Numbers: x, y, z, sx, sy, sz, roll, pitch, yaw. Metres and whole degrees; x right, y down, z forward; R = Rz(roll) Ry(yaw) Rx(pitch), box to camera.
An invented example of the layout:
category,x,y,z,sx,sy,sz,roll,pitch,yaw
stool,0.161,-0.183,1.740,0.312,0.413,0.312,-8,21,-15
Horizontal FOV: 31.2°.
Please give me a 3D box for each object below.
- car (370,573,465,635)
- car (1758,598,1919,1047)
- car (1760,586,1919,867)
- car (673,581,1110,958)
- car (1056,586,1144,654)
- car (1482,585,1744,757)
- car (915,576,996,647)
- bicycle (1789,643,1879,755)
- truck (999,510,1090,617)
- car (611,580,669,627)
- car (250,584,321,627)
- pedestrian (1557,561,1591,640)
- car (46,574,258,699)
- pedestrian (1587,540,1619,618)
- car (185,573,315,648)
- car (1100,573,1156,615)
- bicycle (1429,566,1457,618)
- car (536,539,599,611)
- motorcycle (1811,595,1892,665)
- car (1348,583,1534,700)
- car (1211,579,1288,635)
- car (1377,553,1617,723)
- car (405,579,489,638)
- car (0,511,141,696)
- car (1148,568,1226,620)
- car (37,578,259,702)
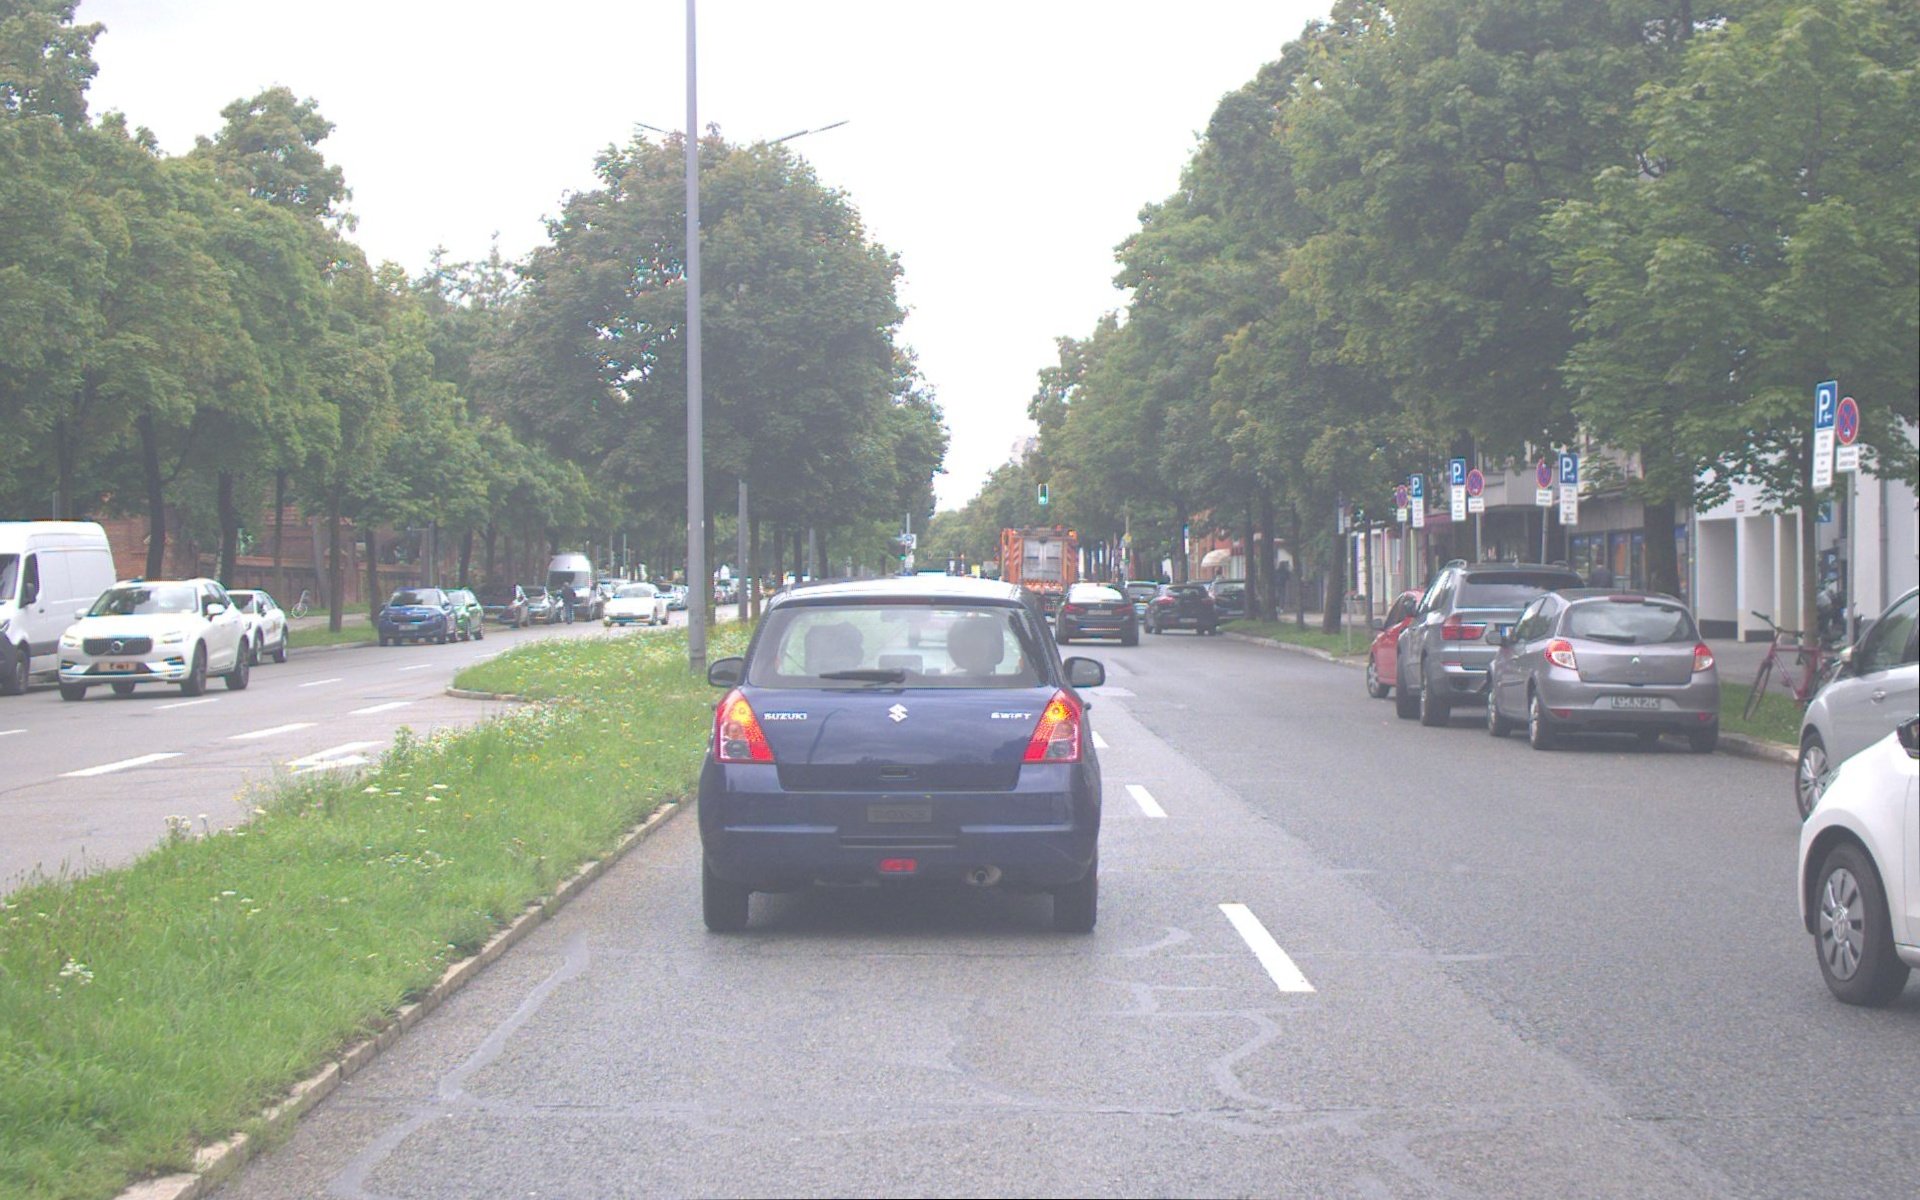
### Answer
category,x,y,z,sx,sy,sz,roll,pitch,yaw
car,-14.346,0.091,91.165,1.886,1.532,4.315,-3,1,-2
car,4.196,0.749,11.051,1.686,1.485,3.436,0,0,-17
car,6.143,0.690,20.030,1.829,1.517,4.524,0,0,-1
car,-0.248,0.667,15.787,1.753,1.499,4.000,0,0,1
car,3.268,0.450,81.014,1.821,1.472,4.691,2,0,0
car,6.090,0.622,32.465,1.829,1.517,3.771,0,0,1
car,-0.099,0.226,75.094,1.718,1.495,4.301,0,0,0
bicycle,7.865,0.876,30.974,0.385,0.944,1.675,0,0,0
truck,2.930,-1.277,121.841,3.041,3.545,13.674,0,0,1
car,-11.351,0.116,122.062,1.761,1.532,4.315,-3,1,-2
car,-24.621,0.183,125.641,1.813,1.531,4.298,1,0,-1
pedestrian,12.809,0.012,71.768,0.549,1.624,0.641,-2,0,0
car,-11.246,0.472,48.133,1.851,1.595,4.402,-2,0,0
pedestrian,13.541,-0.442,72.389,0.541,1.635,0.724,0,0,0
car,-14.412,0.225,69.937,1.857,1.485,4.142,0,-1,-1
car,5.954,-0.234,122.182,1.653,1.447,4.000,0,0,-2
bicycle,13.827,-0.233,98.482,0.580,1.458,1.688,0,0,0
car,-16.538,-1.053,145.027,2.185,2.944,6.192,1,0,-2
motorcycle,14.516,0.477,56.038,0.761,1.082,2.199,-1,1,0
car,6.193,0.504,44.615,1.521,1.436,4.001,0,0,-5
car,8.812,0.192,104.978,1.993,1.637,4.333,0,0,0
car,5.794,0.373,37.599,1.829,1.740,4.508,0,0,-1
car,-14.348,0.216,96.300,1.638,1.532,4.315,-3,1,0
car,-14.564,0.025,52.879,2.140,2.635,7.105,-2,1,0
car,6.424,-0.178,97.655,1.993,1.447,4.000,0,0,0
car,-11.336,0.524,48.326,2.025,1.614,4.684,-1,0,0
